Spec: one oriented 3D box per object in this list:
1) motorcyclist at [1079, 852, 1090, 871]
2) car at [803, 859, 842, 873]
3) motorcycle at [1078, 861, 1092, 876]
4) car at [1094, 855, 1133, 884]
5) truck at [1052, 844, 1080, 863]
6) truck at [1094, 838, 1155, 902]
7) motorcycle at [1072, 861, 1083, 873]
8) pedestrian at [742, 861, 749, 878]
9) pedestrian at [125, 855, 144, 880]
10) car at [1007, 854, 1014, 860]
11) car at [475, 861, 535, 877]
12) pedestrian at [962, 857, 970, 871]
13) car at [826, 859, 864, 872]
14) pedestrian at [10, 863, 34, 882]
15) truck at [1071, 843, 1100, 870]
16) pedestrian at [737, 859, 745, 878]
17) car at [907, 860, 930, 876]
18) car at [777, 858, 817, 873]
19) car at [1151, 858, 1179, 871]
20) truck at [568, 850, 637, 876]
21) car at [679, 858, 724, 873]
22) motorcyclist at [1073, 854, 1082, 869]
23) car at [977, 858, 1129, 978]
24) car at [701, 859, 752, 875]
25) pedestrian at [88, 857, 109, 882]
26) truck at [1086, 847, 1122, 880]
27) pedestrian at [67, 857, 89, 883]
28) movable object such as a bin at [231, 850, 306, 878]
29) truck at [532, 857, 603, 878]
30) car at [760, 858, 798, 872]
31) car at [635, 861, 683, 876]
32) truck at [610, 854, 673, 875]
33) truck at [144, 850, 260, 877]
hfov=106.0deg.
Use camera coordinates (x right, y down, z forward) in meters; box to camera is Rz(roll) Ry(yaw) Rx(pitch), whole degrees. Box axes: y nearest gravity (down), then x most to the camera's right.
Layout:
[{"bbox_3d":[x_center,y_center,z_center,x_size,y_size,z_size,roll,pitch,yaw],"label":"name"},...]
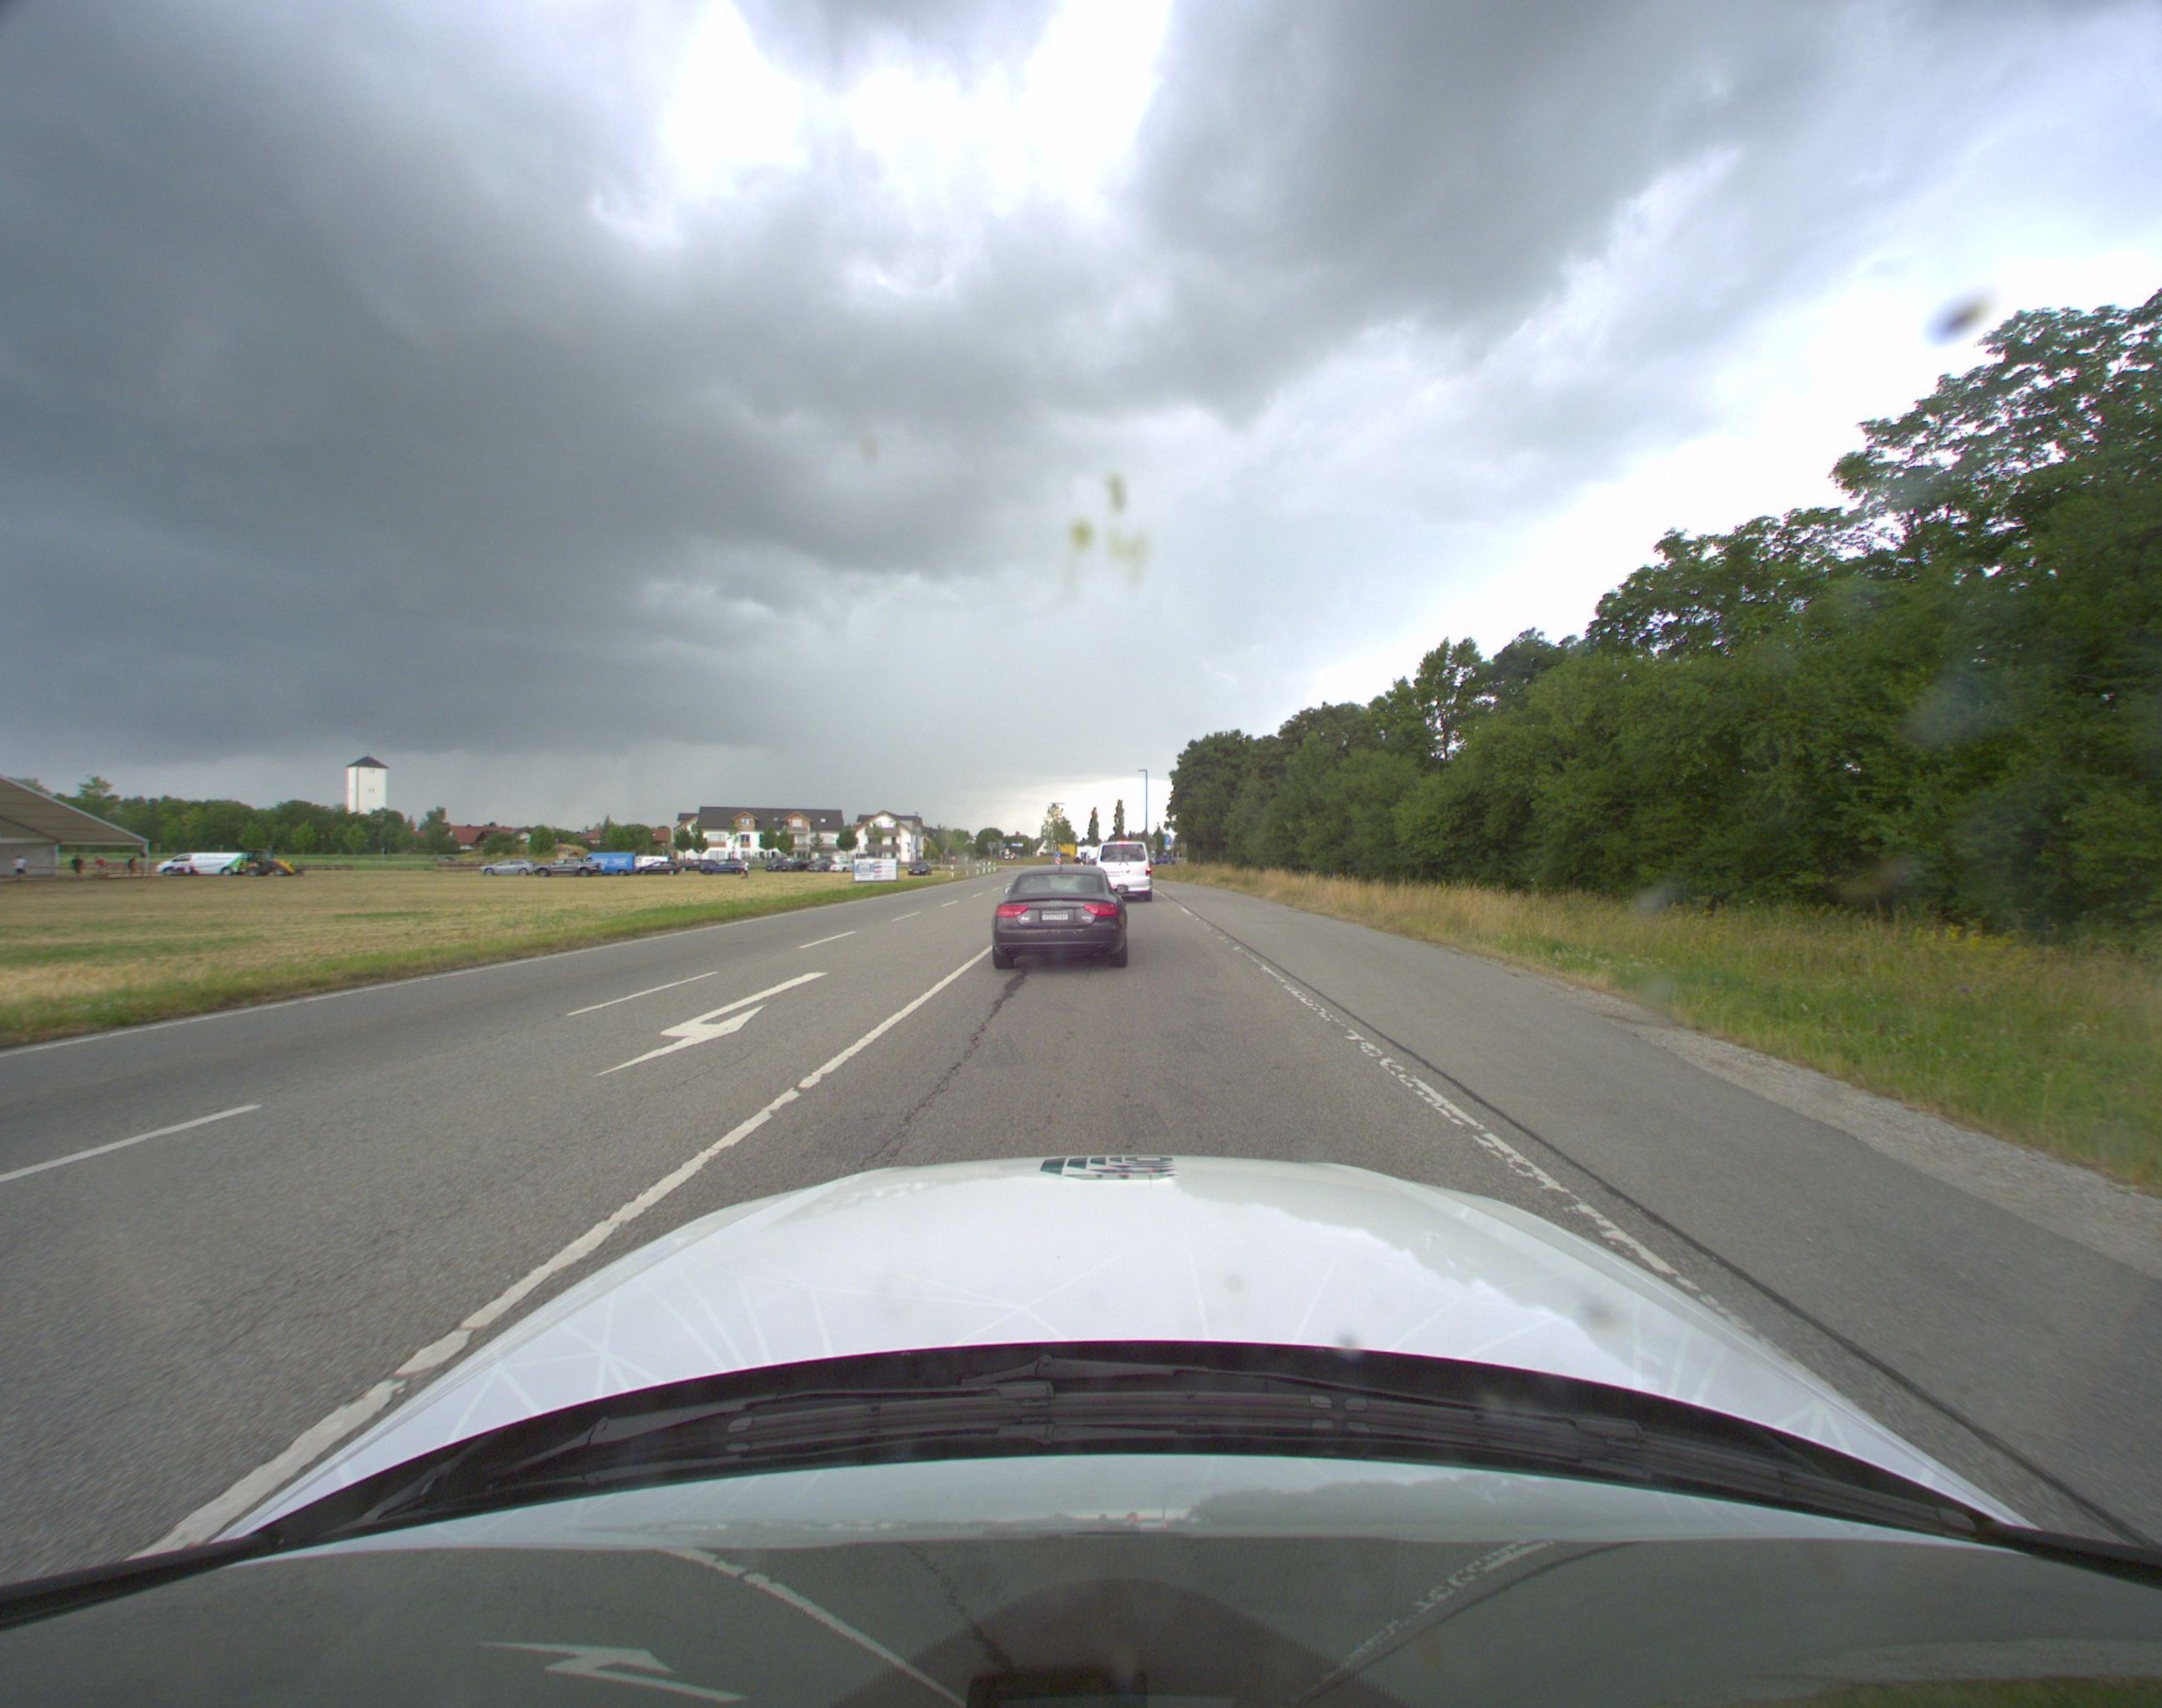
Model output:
[{"bbox_3d":[0.294,0.579,61.911,0.769,1.383,0.821,0,0,3],"label":"motorcyclist"},{"bbox_3d":[-29.553,1.343,93.265,1.976,1.536,4.233,0,0,21],"label":"car"},{"bbox_3d":[0.316,1.103,61.983,0.916,1.094,2.190,0,0,3],"label":"motorcycle"},{"bbox_3d":[1.707,0.792,43.273,1.986,1.485,4.002,0,0,2],"label":"car"},{"bbox_3d":[-2.889,-0.103,153.844,3.577,3.578,9.919,1,0,-11],"label":"truck"},{"bbox_3d":[1.463,0.516,27.748,1.896,1.998,4.631,0,0,3],"label":"truck"},{"bbox_3d":[-0.284,1.205,75.654,0.941,1.019,2.284,0,0,1],"label":"motorcycle"},{"bbox_3d":[-30.745,1.451,74.634,0.591,1.555,0.622,0,-1,-17],"label":"pedestrian"},{"bbox_3d":[-72.074,1.003,61.988,0.620,1.866,0.711,0,-1,12],"label":"pedestrian"},{"bbox_3d":[-21.929,0.879,253.678,1.990,2.014,3.993,0,0,-5],"label":"car"},{"bbox_3d":[-54.270,1.356,76.780,4.314,1.461,1.876,0,0,-24],"label":"car"},{"bbox_3d":[-13.524,1.165,96.079,0.695,1.586,0.661,0,-1,19],"label":"pedestrian"},{"bbox_3d":[-26.896,1.309,92.790,1.976,1.446,4.233,0,0,21],"label":"car"},{"bbox_3d":[-70.244,1.226,54.018,0.688,1.271,0.693,0,-1,-9],"label":"pedestrian"},{"bbox_3d":[0.405,0.267,86.695,2.621,2.737,5.858,0,0,-4],"label":"truck"},{"bbox_3d":[-30.694,1.302,73.524,0.548,1.786,0.676,0,-1,-9],"label":"pedestrian"},{"bbox_3d":[-15.822,1.331,79.681,1.993,1.442,3.989,0,0,-8],"label":"car"},{"bbox_3d":[-32.681,1.280,93.826,1.976,1.629,4.233,0,0,21],"label":"car"},{"bbox_3d":[13.320,1.616,129.545,3.952,2.014,2.011,0,-1,22],"label":"car"},{"bbox_3d":[-46.607,0.892,79.522,5.467,2.446,2.377,0,-1,-21],"label":"truck"},{"bbox_3d":[-45.641,1.381,98.019,4.638,1.697,1.988,0,0,-18],"label":"car"},{"bbox_3d":[-0.321,0.709,75.685,0.783,1.356,0.854,0,0,0],"label":"motorcyclist"},{"bbox_3d":[-0.271,0.800,12.157,1.868,1.454,4.179,-1,0,2],"label":"car"},{"bbox_3d":[-37.487,1.384,86.212,4.728,1.697,1.988,0,0,-18],"label":"car"},{"bbox_3d":[-71.236,1.102,59.047,0.690,1.776,0.691,0,-1,-17],"label":"pedestrian"},{"bbox_3d":[1.551,0.596,52.351,2.185,2.014,5.088,0,0,3],"label":"truck"},{"bbox_3d":[-68.836,1.106,55.904,0.690,1.776,0.691,0,-1,-17],"label":"pedestrian"},{"bbox_3d":[-67.947,0.819,68.181,4.005,2.243,1.870,0,-1,-26],"label":"movable object such as a bin"},{"bbox_3d":[-47.447,1.229,75.375,5.251,1.920,2.095,0,0,-24],"label":"truck"},{"bbox_3d":[-35.695,1.277,96.317,1.976,1.629,4.233,0,0,21],"label":"car"},{"bbox_3d":[-43.535,1.445,84.125,4.166,1.519,1.988,0,0,-18],"label":"car"},{"bbox_3d":[-46.917,1.129,87.079,5.584,2.196,2.589,0,0,-21],"label":"truck"},{"bbox_3d":[-74.447,0.785,69.145,6.074,2.217,2.698,0,0,-25],"label":"truck"}]
